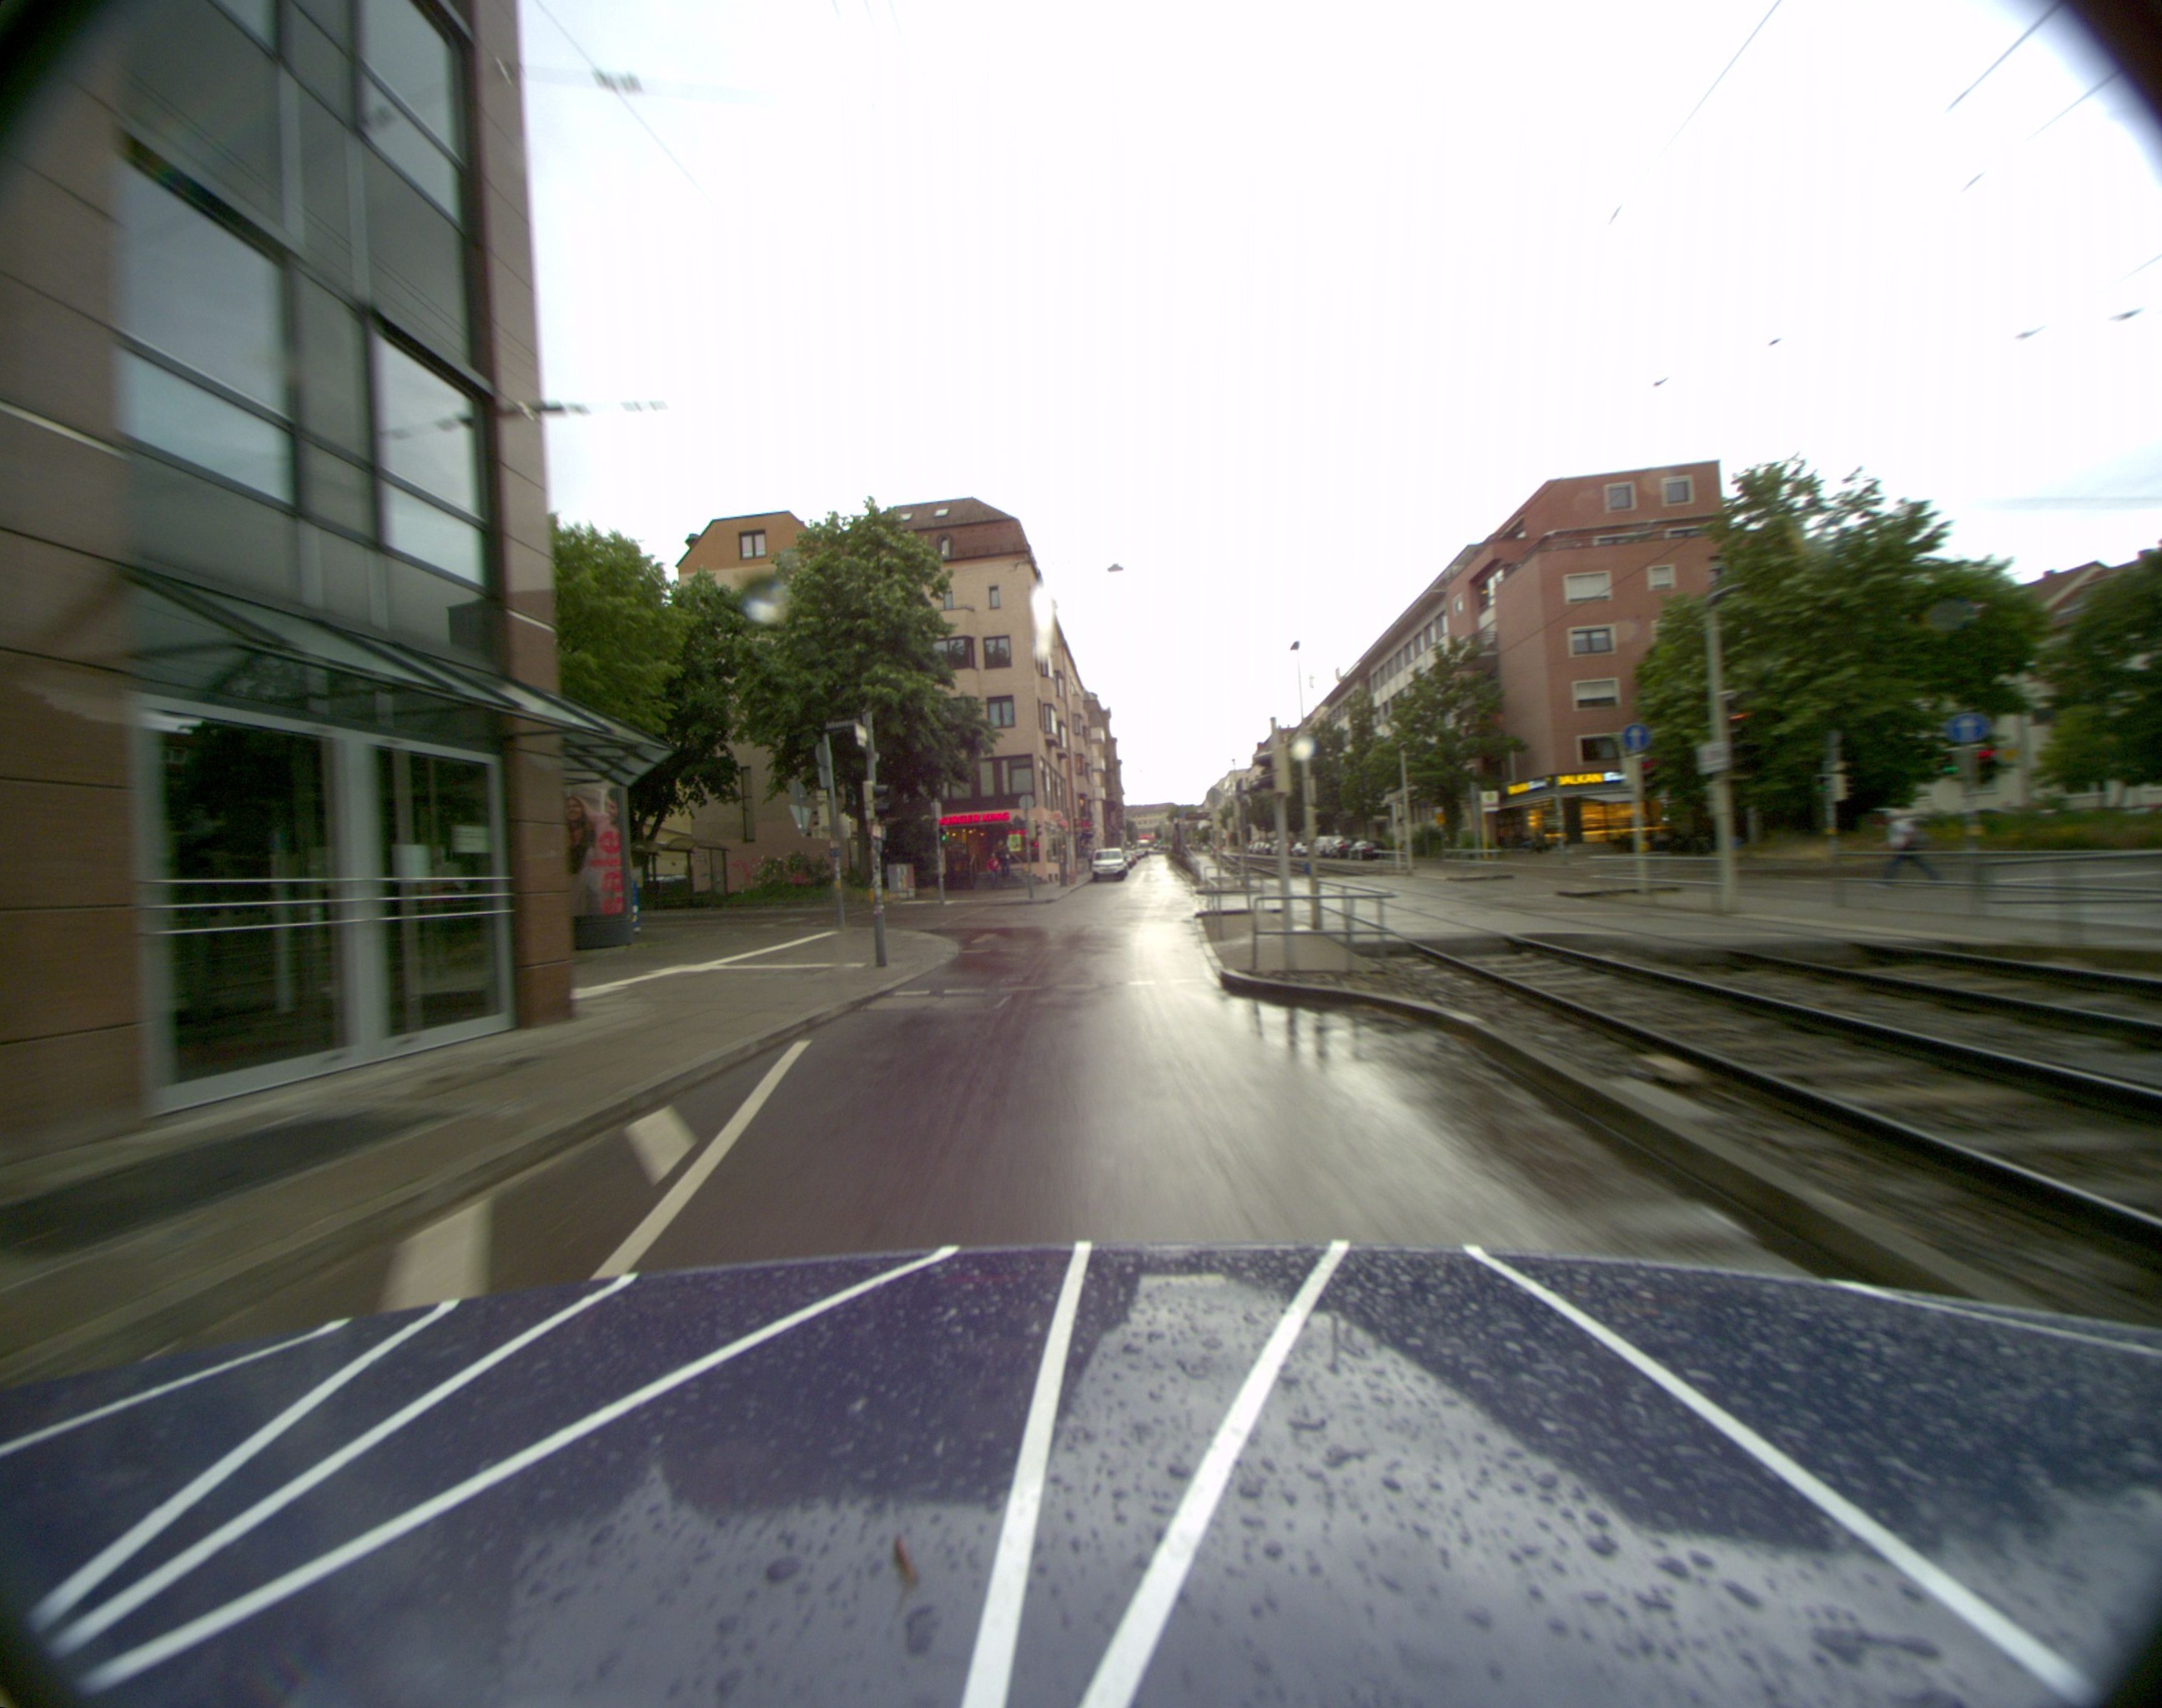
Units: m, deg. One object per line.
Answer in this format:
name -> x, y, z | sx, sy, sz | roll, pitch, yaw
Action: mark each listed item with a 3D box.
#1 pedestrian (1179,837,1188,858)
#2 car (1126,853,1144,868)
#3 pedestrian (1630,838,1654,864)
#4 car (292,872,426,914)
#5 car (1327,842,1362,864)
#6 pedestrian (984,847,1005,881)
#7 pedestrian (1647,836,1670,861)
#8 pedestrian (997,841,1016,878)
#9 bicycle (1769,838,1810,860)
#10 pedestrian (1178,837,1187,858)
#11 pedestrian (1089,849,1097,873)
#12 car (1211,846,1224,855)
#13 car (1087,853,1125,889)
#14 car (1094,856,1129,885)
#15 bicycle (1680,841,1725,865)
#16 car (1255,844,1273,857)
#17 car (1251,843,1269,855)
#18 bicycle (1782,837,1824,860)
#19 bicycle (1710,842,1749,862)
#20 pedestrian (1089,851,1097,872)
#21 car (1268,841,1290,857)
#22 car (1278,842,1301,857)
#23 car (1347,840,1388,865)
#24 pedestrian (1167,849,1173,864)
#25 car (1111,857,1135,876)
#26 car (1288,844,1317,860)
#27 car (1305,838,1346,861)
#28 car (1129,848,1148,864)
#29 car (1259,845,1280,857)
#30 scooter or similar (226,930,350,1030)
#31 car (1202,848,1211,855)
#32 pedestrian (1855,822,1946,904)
pedestrian -> 7.943, -0.536, 59.035 | 0.584, 1.600, 0.701 | -3, 1, 3
car -> 5.922, 0.713, 83.068 | 1.720, 1.454, 3.446 | -3, 1, 6
pedestrian -> 26.171, -0.153, 35.475 | 0.677, 1.171, 0.608 | -3, 1, 11
car -> -30.015, 1.586, 31.774 | 1.677, 1.453, 3.872 | -3, 0, 4
car -> 20.837, -0.102, 60.250 | 1.642, 1.527, 4.372 | -3, 1, 6
pedestrian -> -4.277, 0.475, 37.521 | 0.627, 1.640, 0.723 | -4, 1, -44
pedestrian -> 27.349, -0.259, 35.987 | 0.679, 1.171, 0.607 | -3, 1, -27
pedestrian -> -3.722, 0.295, 37.881 | 0.597, 1.809, 0.665 | -4, 2, -44
bicycle -> 29.081, -0.207, 31.195 | 0.338, 0.838, 1.647 | -3, 1, 8
pedestrian -> 7.819, -0.512, 58.342 | 0.584, 1.548, 0.701 | -3, 1, 3
pedestrian -> 0.973, 0.571, 61.591 | 0.530, 1.848, 0.556 | -3, 1, -2
car -> 25.222, -0.608, 140.459 | 1.696, 1.454, 4.531 | -3, 1, 3
car -> 1.496, 0.949, 43.867 | 1.911, 1.796, 4.778 | -3, 1, 4
car -> 2.020, 1.049, 48.867 | 1.910, 1.606, 4.415 | -3, 1, 6
bicycle -> 25.856, -0.051, 31.638 | 0.481, 0.953, 1.874 | -3, 1, 6
car -> 24.056, -0.485, 100.058 | 1.642, 1.529, 4.023 | -3, 1, 6
car -> 25.004, -0.751, 106.298 | 1.661, 1.575, 4.339 | -3, 1, 4
bicycle -> 29.598, -0.247, 31.174 | 0.340, 0.898, 1.647 | -3, 1, 8
bicycle -> 26.811, -0.101, 31.438 | 0.340, 0.811, 1.647 | -3, 1, 6
pedestrian -> 0.949, 0.642, 62.290 | 0.546, 1.671, 0.595 | -3, 1, -2
car -> 23.263, -0.592, 89.228 | 1.677, 1.806, 4.433 | -3, 1, 4
car -> 22.914, -0.468, 83.635 | 1.642, 1.530, 3.805 | -3, 1, 4
car -> 20.348, -0.114, 54.157 | 1.642, 1.614, 4.372 | -3, 1, 6
pedestrian -> 11.163, 0.306, 95.390 | 0.653, 1.752, 0.882 | -3, 1, 2
car -> 3.769, 1.096, 67.775 | 1.910, 1.454, 4.246 | -3, 1, 5
car -> 21.965, -0.181, 75.512 | 1.696, 1.454, 4.531 | -3, 1, 3
car -> 21.282, -0.423, 66.396 | 1.911, 1.834, 5.257 | -3, 1, 2
car -> 5.834, 0.202, 76.918 | 1.649, 1.454, 3.415 | -3, 1, 6
car -> 23.510, -0.408, 94.853 | 1.642, 1.432, 4.731 | -3, 1, 4
scooter or similar -> -10.335, 1.645, 9.906 | 1.376, 1.220, 0.325 | -3, 1, 9
car -> 27.396, -0.597, 165.976 | 1.642, 1.330, 3.736 | -3, 1, 4
pedestrian -> 17.965, 0.182, 16.682 | 0.821, 1.687, 0.986 | -5, 1, -3
